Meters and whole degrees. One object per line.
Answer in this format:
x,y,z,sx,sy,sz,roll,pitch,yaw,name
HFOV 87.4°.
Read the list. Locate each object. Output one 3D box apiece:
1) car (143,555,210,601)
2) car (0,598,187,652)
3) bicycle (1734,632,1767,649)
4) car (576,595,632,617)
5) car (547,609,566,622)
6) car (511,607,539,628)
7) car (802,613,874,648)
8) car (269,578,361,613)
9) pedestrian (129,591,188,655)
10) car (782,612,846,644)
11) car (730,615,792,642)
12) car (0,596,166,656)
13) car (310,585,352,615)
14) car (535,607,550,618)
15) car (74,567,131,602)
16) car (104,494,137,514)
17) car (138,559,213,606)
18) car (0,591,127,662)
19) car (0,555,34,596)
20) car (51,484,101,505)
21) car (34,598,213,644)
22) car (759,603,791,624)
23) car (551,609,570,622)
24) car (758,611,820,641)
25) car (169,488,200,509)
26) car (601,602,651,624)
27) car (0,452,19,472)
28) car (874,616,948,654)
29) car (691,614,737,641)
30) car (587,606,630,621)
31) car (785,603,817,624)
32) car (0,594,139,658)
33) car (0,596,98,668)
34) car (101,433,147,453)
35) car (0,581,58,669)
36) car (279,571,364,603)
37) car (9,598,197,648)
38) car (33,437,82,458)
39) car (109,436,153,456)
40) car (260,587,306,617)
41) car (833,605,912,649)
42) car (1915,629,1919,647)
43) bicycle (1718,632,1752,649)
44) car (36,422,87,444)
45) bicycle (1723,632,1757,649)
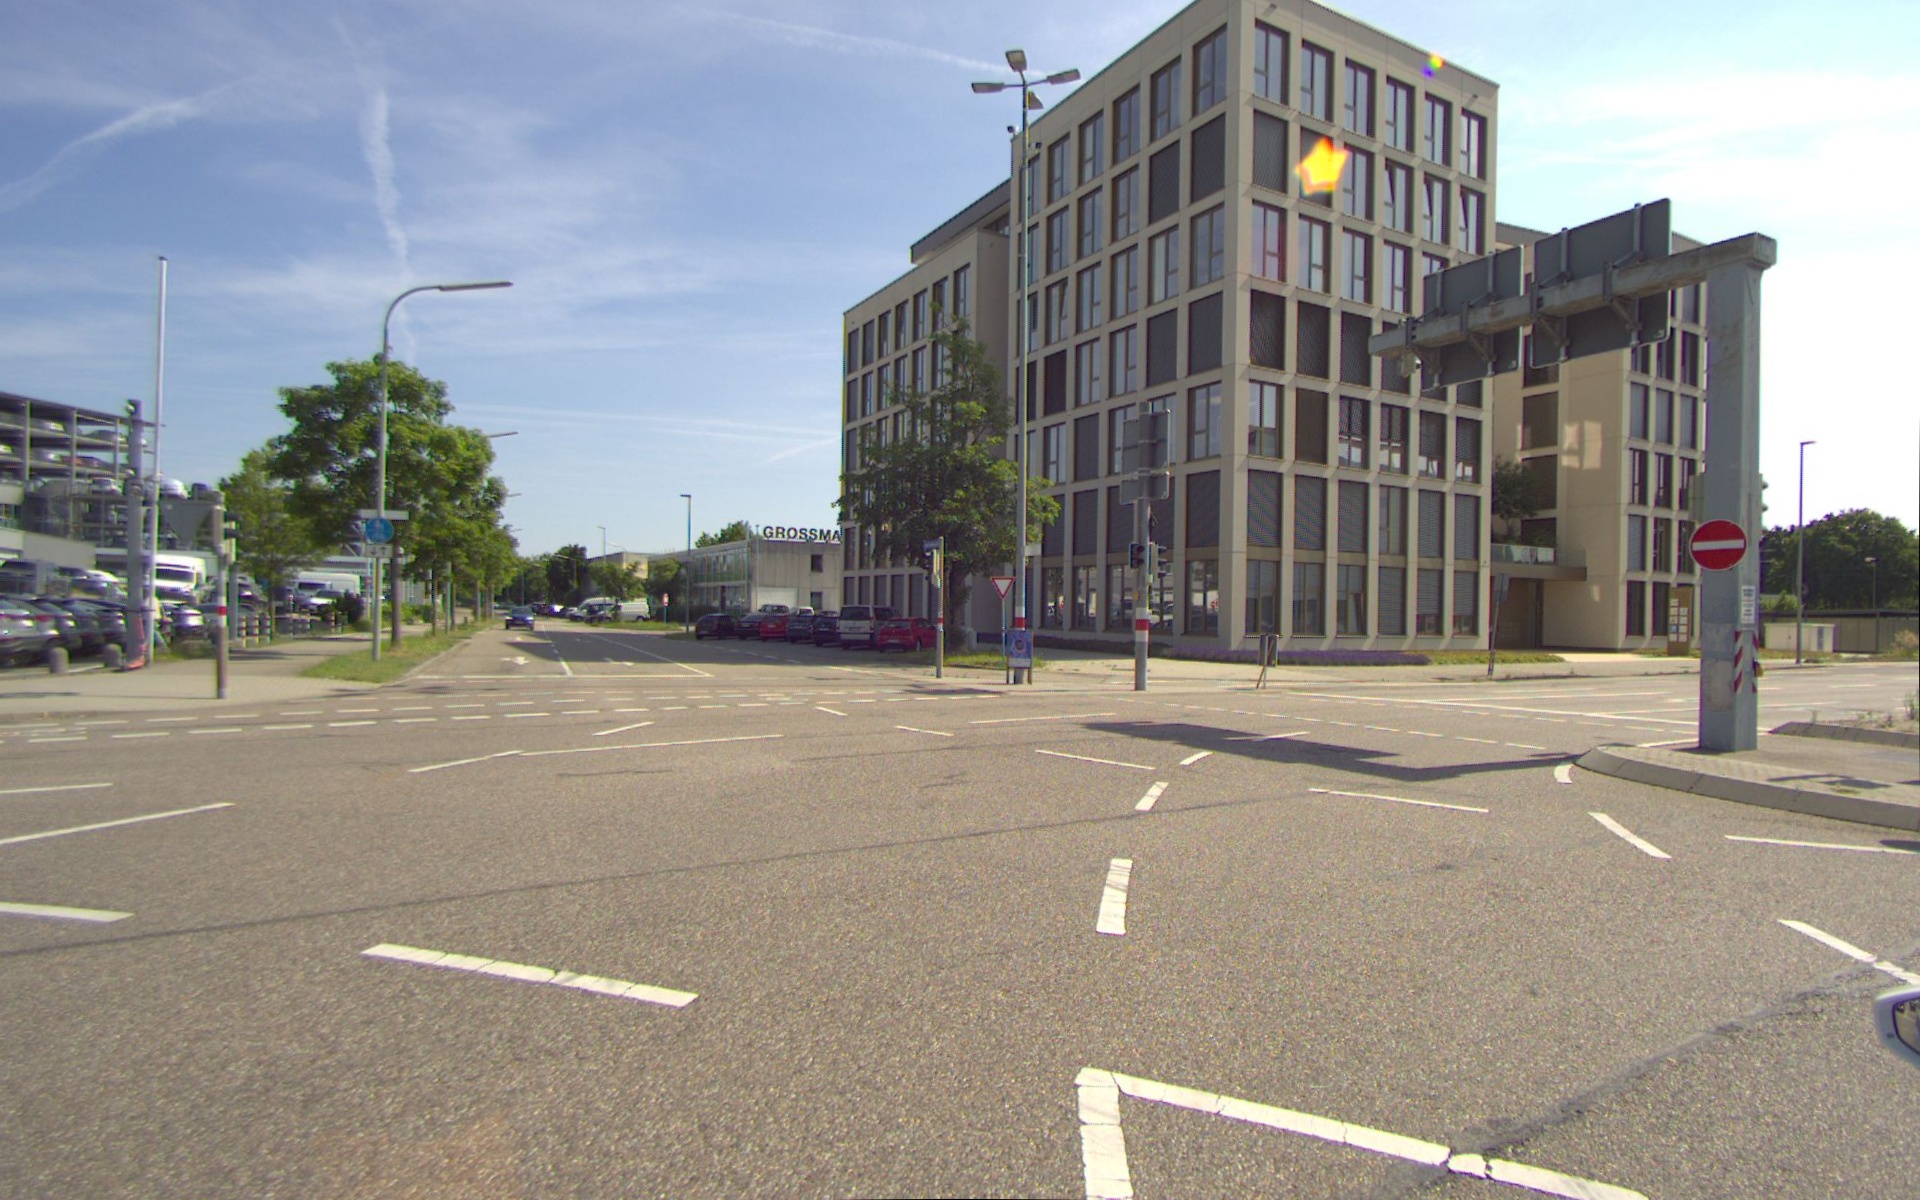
-43.409,-1.212,55.776,2.063,2.374,5.509,1,1,-28,car
-26.326,0.722,30.245,4.578,1.461,1.779,-2,1,-31,car
54.388,2.799,69.114,0.581,1.106,1.696,1,0,-28,bicycle
-41.173,0.706,116.167,5.827,2.464,2.360,2,-1,-26,car
-57.225,2.146,142.322,2.012,1.739,3.971,2,-1,-28,car
-28.989,1.164,66.909,1.637,1.307,3.781,2,-1,-25,car
-5.703,1.389,47.451,1.772,1.533,4.000,1,0,20,car
-40.178,-0.236,62.694,4.697,2.040,1.983,1,-1,-31,car
-22.376,0.643,28.059,0.988,1.773,0.913,1,-1,-19,pedestrian
-7.374,1.413,51.130,1.628,1.518,3.965,1,0,17,car
-11.087,1.559,56.216,1.686,1.434,4.001,1,0,17,car
-25.180,0.702,27.919,4.620,1.537,1.769,-1,1,-31,car
-36.995,-0.027,59.134,1.978,1.595,3.951,1,1,-31,car
-71.647,2.170,172.283,2.012,1.739,3.971,2,-1,-28,car
-52.680,-0.909,61.767,1.831,2.040,4.039,1,-1,-29,car
-95.193,-10.874,113.936,2.012,1.739,3.971,2,-1,-28,car
-36.470,-0.805,46.818,2.066,1.932,4.508,6,-2,-31,car
-22.376,0.627,23.354,4.325,1.565,1.779,-2,1,-31,car
-49.408,-1.268,50.392,4.024,2.040,1.838,1,-1,-31,car
-101.071,-12.056,114.893,3.957,2.040,1.982,2,2,-33,car
-28.963,0.694,34.981,4.506,1.461,1.779,-1,0,-31,car
-16.240,1.186,88.099,1.726,1.706,3.973,1,0,-26,car
-54.905,2.136,138.014,2.012,1.739,3.971,2,-1,-28,car
-9.125,1.370,53.922,1.655,1.500,4.001,1,0,17,car
-84.283,-10.990,109.215,2.012,1.739,3.971,2,-1,-28,car
-31.824,1.222,95.661,4.189,1.966,1.885,2,-1,-30,car
-104.208,-14.978,108.127,3.959,1.739,2.017,2,-1,-35,car
-1.974,1.411,41.726,1.772,1.434,4.031,1,0,18,car
-13.939,1.521,57.091,1.638,1.434,3.616,1,0,1,car
-36.072,1.372,103.101,3.833,1.470,1.751,2,-1,-30,car
-14.214,1.194,89.543,1.678,1.706,3.939,1,0,-26,car
-23.957,0.669,25.355,4.721,1.526,1.779,-2,1,-31,car
-20.919,0.699,20.957,4.151,1.461,1.779,-2,1,-31,car
-98.934,-18.544,118.861,3.959,1.739,2.017,2,-1,-35,car
-19.888,0.520,18.475,4.540,1.635,1.805,-2,1,-30,car
-42.717,-0.844,67.340,4.697,2.040,1.983,1,-1,-31,car
-27.661,0.716,32.615,4.350,1.461,1.779,-1,0,-31,car
-106.790,-18.050,118.909,3.959,1.739,2.017,2,-1,-35,car
-100.749,-18.711,122.125,3.959,1.739,2.017,2,-1,-35,car
-38.972,0.114,57.909,1.978,1.595,3.951,1,1,-31,car
-3.825,1.167,44.894,1.860,1.846,4.815,1,0,16,car
78.796,3.099,79.891,4.053,1.439,1.719,1,-1,42,car
52.439,2.742,67.986,0.581,1.106,1.696,1,0,-28,bicycle
-100.114,-18.579,112.014,3.959,1.739,2.017,2,-1,-35,car
53.044,2.765,68.302,0.581,1.106,1.696,1,0,-28,bicycle
